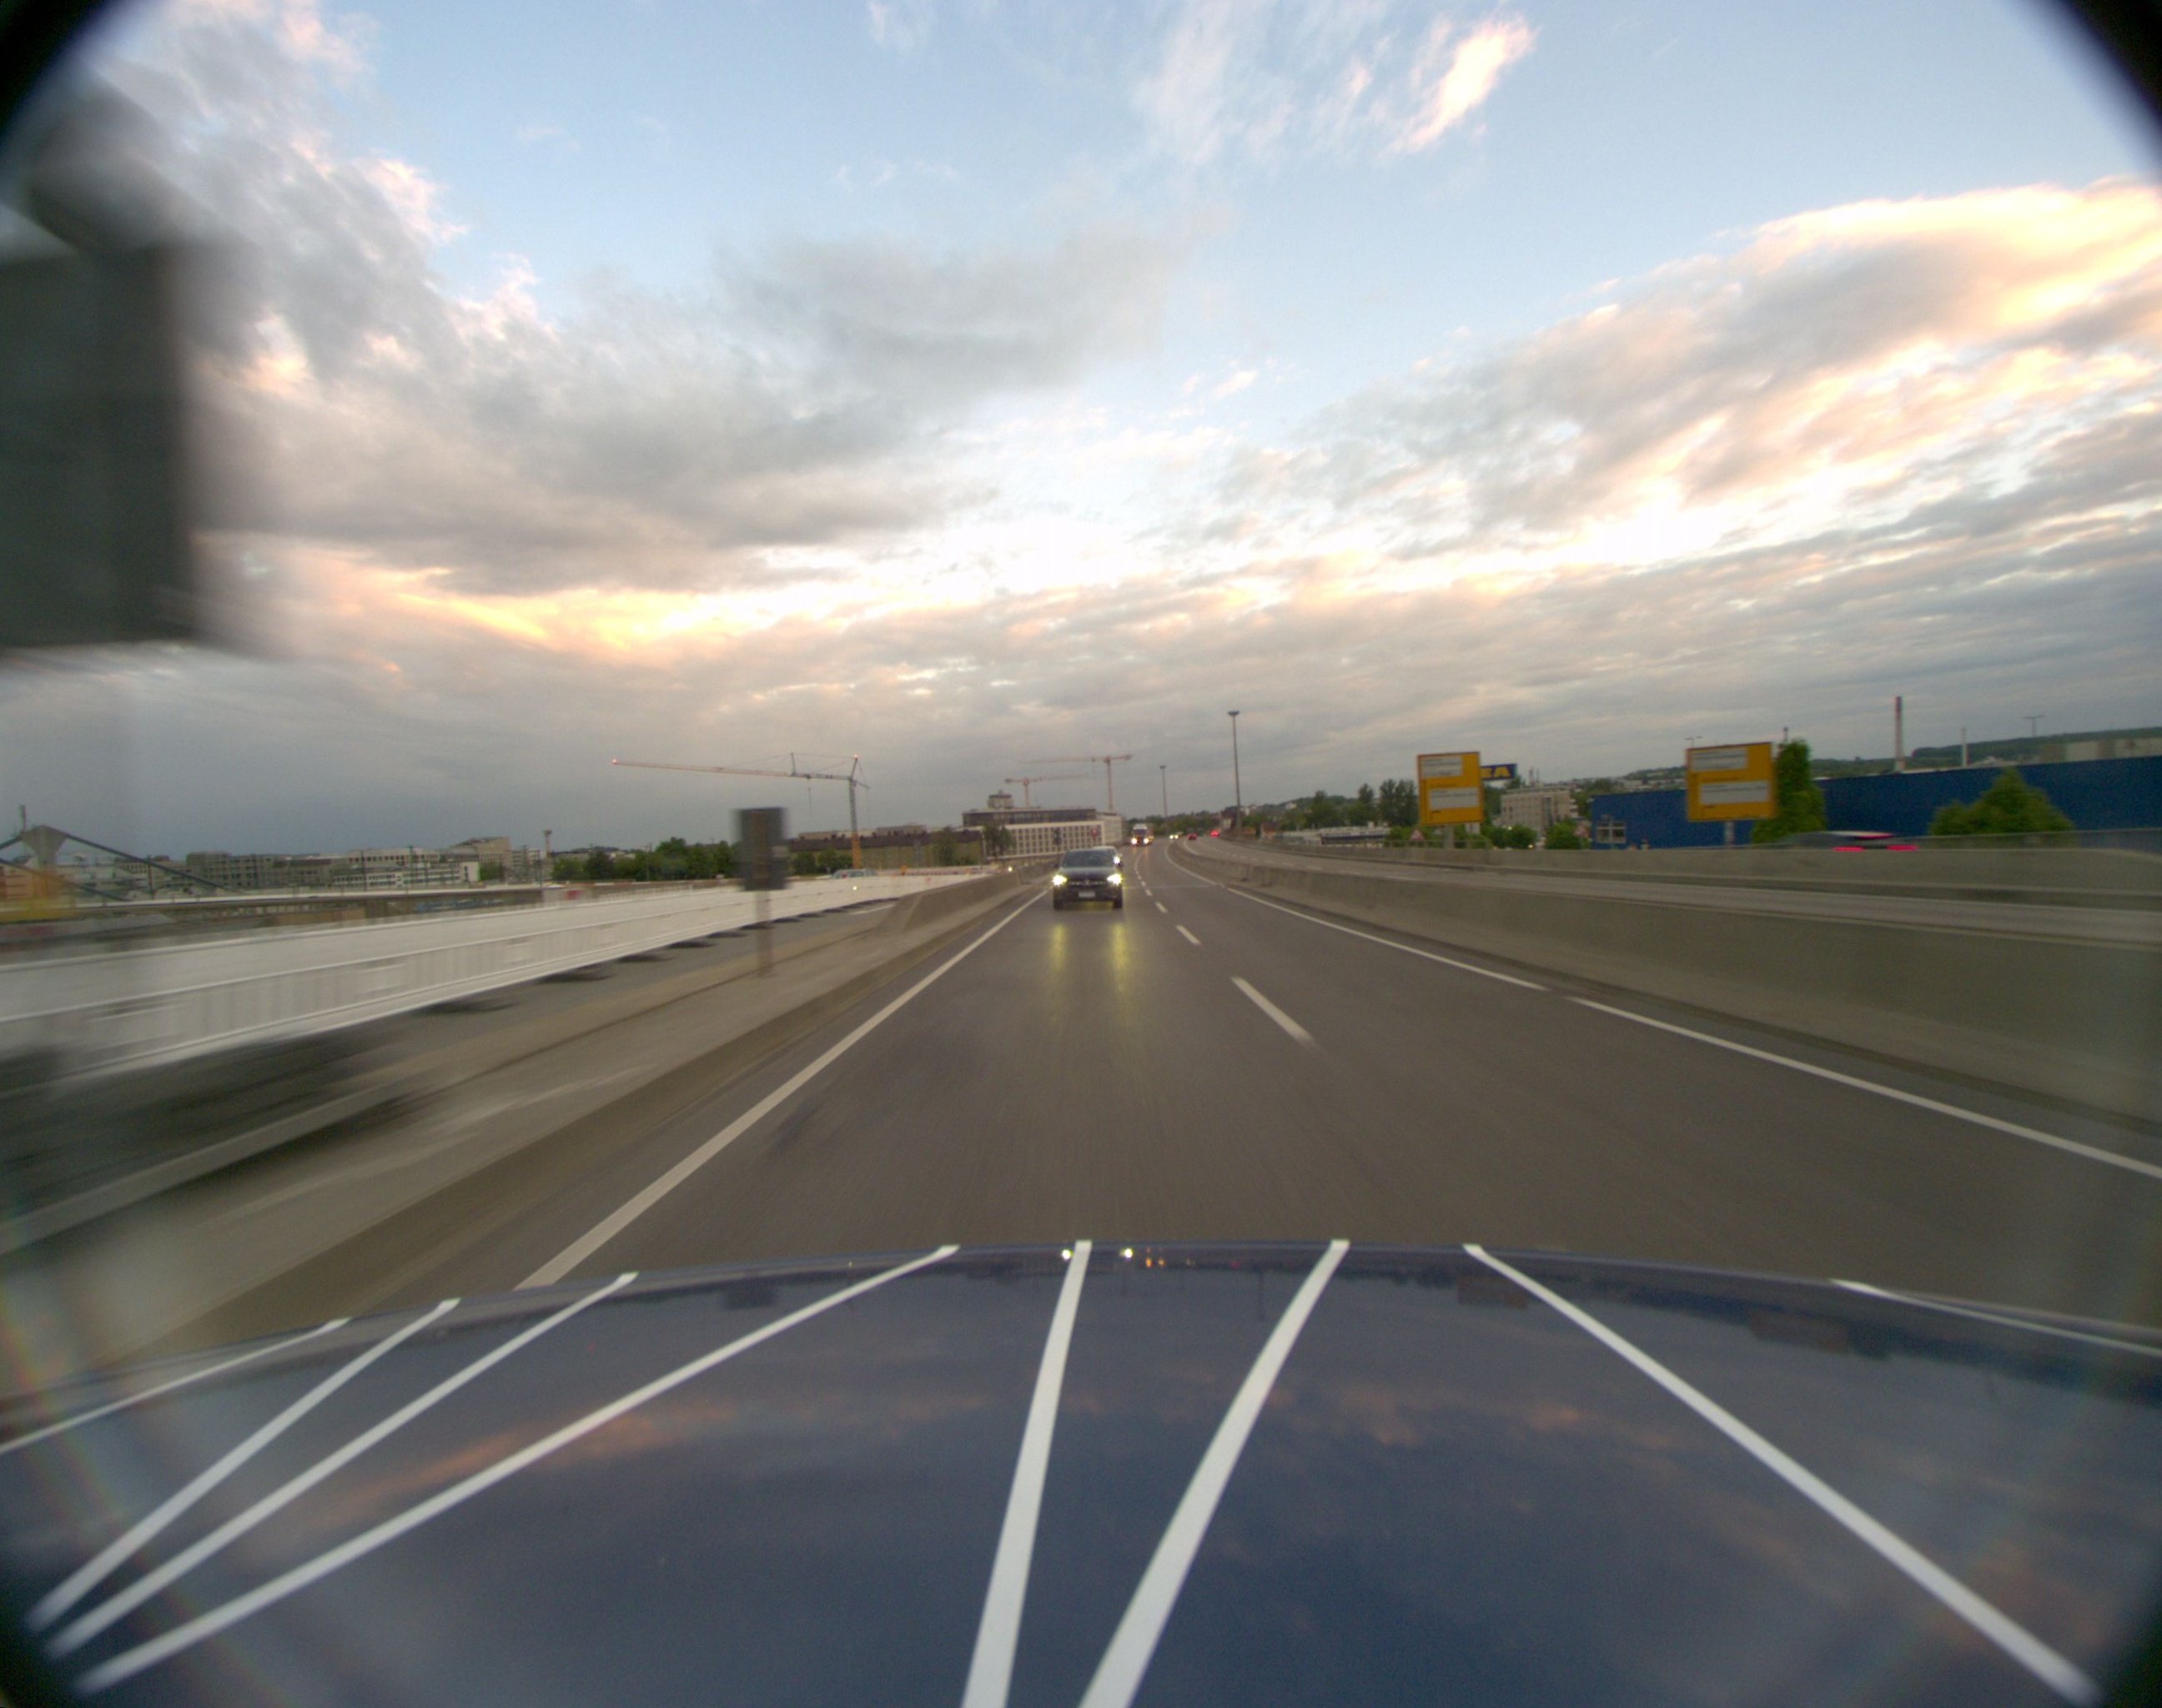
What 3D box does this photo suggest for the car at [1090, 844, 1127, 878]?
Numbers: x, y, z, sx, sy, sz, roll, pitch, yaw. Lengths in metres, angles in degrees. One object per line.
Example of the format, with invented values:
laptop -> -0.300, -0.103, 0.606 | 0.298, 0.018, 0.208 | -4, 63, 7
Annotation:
car -> 1.472, 0.344, 41.690 | 1.891, 1.642, 4.343 | -3, 0, 1

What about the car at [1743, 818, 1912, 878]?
car -> 23.821, -0.197, 24.475 | 1.640, 1.707, 4.001 | -3, 0, 4

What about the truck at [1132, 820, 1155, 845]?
truck -> 11.346, -3.924, 136.642 | 3.163, 4.370, 8.796 | -2, 2, 10

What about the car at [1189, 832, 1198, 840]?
car -> 24.636, -3.937, 166.395 | 1.833, 1.472, 4.288 | -2, 2, 7

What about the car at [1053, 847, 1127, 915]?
car -> 0.264, 0.655, 21.298 | 1.823, 1.603, 4.211 | -2, 2, 1

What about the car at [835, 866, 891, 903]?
car -> -10.168, 1.386, 35.761 | 1.755, 1.482, 3.998 | -3, 0, -5

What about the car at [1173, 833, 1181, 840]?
car -> 26.227, -4.772, 206.626 | 1.997, 2.002, 4.001 | -2, 2, 9
